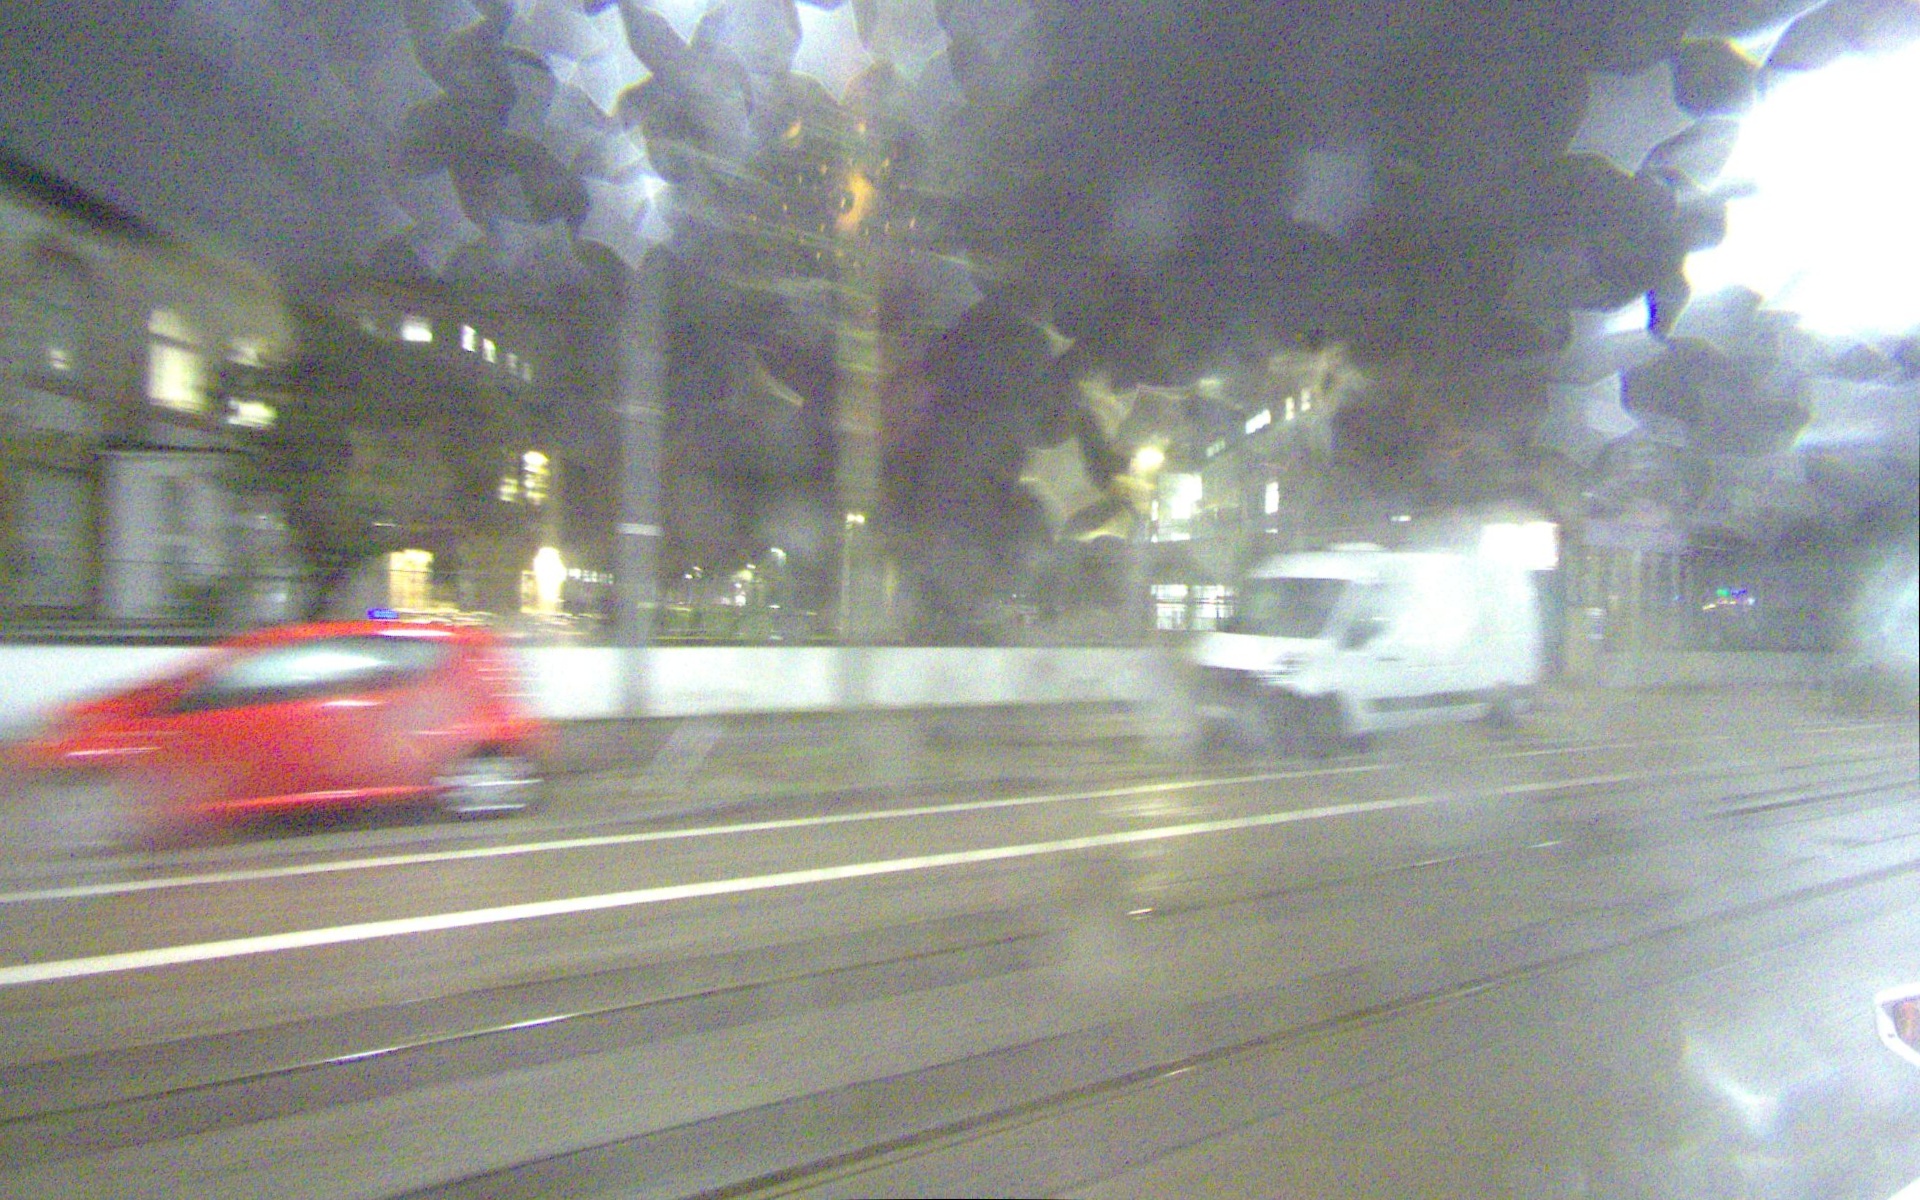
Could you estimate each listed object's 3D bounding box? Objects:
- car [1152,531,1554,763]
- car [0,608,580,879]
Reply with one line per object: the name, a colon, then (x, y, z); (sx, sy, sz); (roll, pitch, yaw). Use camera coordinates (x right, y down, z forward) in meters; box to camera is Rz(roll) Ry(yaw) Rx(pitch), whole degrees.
car: (5.330, 0.529, 13.305); (5.546, 2.532, 2.013); (1, 2, -33)
car: (-4.835, 0.858, 7.394); (3.579, 1.527, 1.631); (0, 2, -32)
